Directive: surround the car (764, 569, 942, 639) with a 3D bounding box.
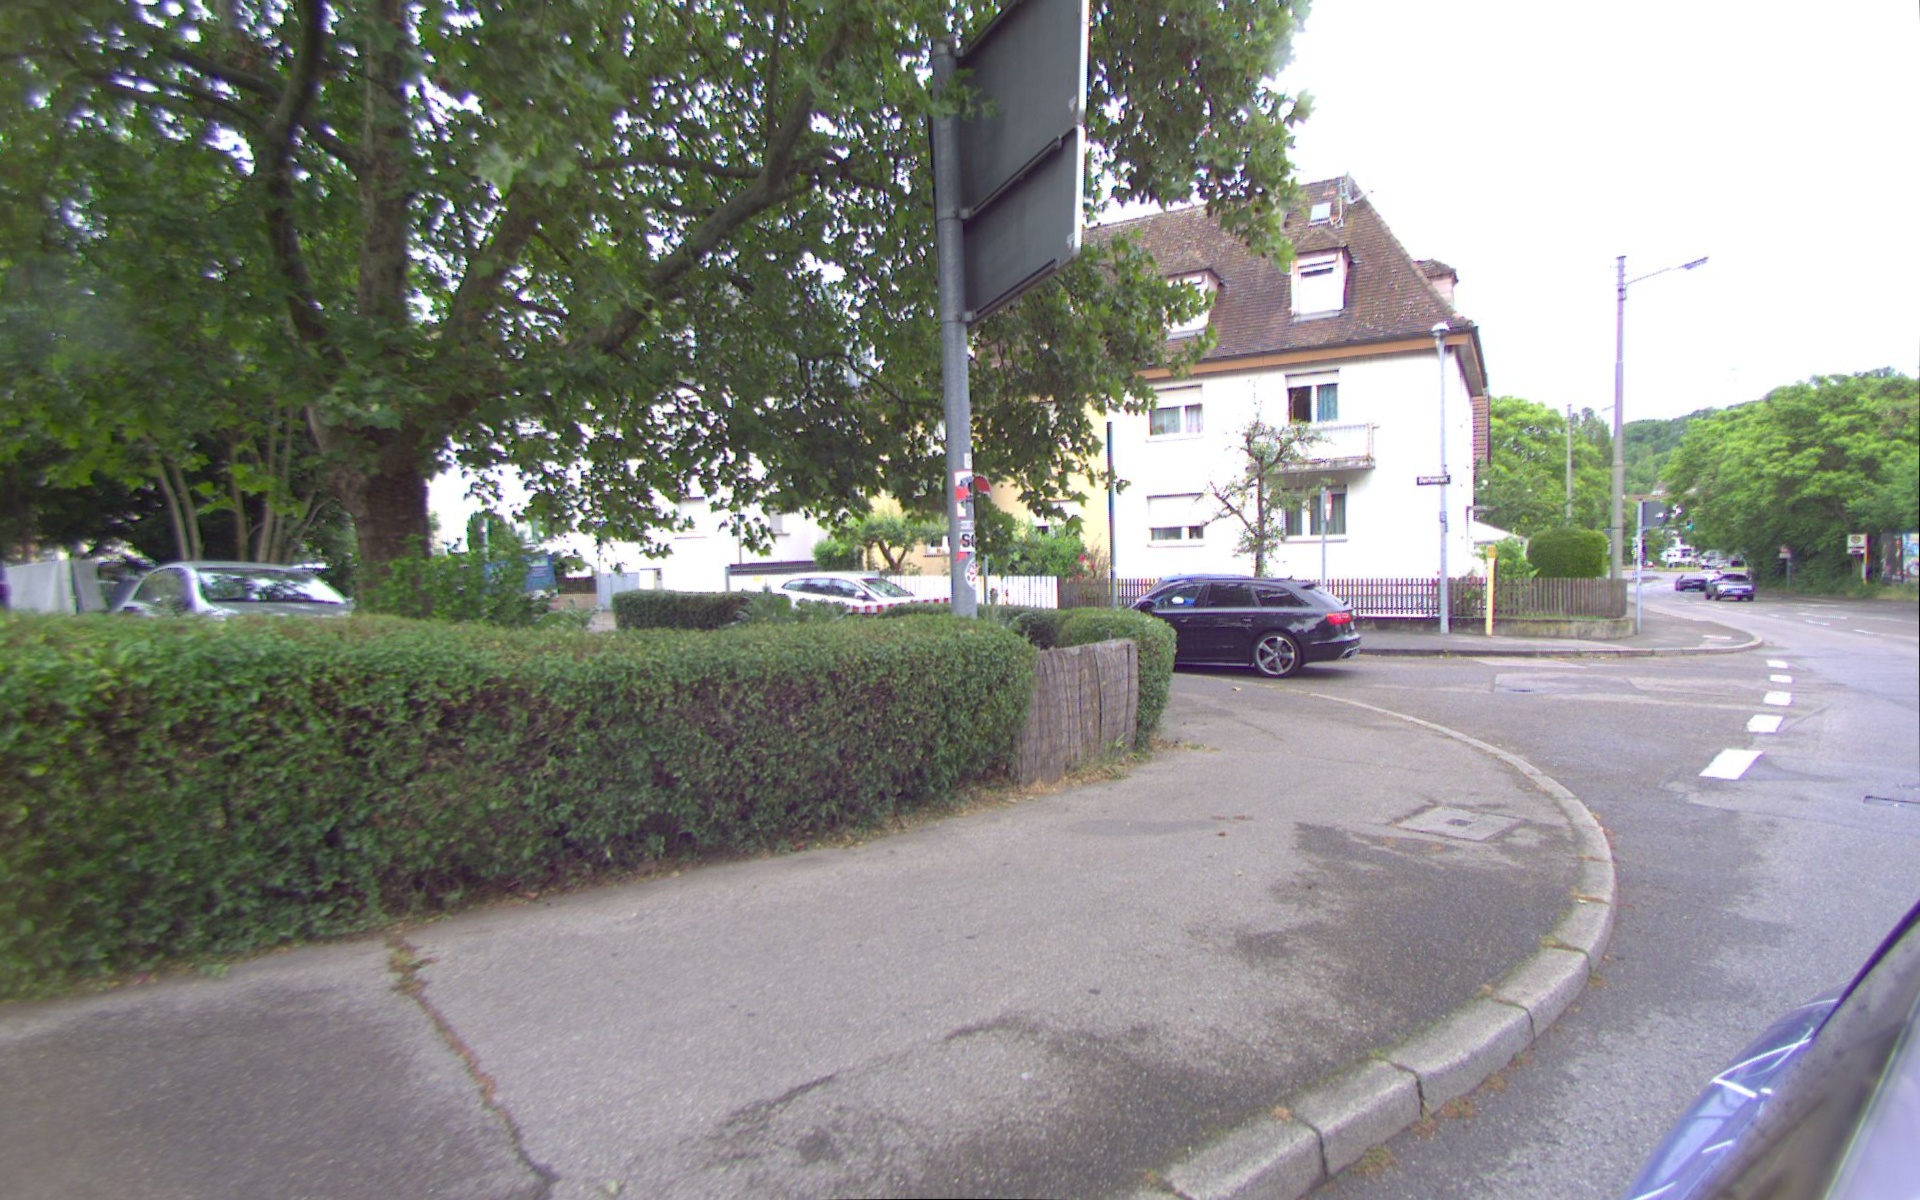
[{"bbox_3d":[-2.451,0.042,22.983,3.752,1.471,1.754,1,1,30],"label":"car"}]

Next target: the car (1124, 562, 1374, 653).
[{"bbox_3d":[5.300,0.063,18.699,4.096,1.498,1.864,2,2,32],"label":"car"}]

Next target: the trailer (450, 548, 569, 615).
[{"bbox_3d":[-14.254,-0.609,32.008,3.456,2.038,1.657,1,1,27],"label":"trailer"}]

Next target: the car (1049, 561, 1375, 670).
[{"bbox_3d":[3.973,0.154,16.101,4.768,1.498,1.870,1,2,26],"label":"car"}]

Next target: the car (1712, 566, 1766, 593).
[{"bbox_3d":[44.785,-1.202,58.261,1.885,1.479,3.959,1,2,30],"label":"car"}]

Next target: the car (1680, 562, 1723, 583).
[{"bbox_3d":[60.433,-2.214,82.565,1.981,1.461,4.731,4,1,26],"label":"car"}]

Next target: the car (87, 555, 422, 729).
[{"bbox_3d":[-7.868,0.327,11.187,3.974,1.599,1.800,1,2,35],"label":"car"}]

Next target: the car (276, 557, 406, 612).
[{"bbox_3d":[-22.386,-0.590,36.567,4.536,1.862,1.981,1,2,28],"label":"car"}]

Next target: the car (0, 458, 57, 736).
[{"bbox_3d":[-8.973,-0.038,7.596,4.376,1.956,1.980,1,2,29],"label":"car"}]

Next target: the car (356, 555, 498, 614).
[{"bbox_3d":[-17.829,-0.562,33.831,4.536,1.862,1.981,1,2,28],"label":"car"}]
